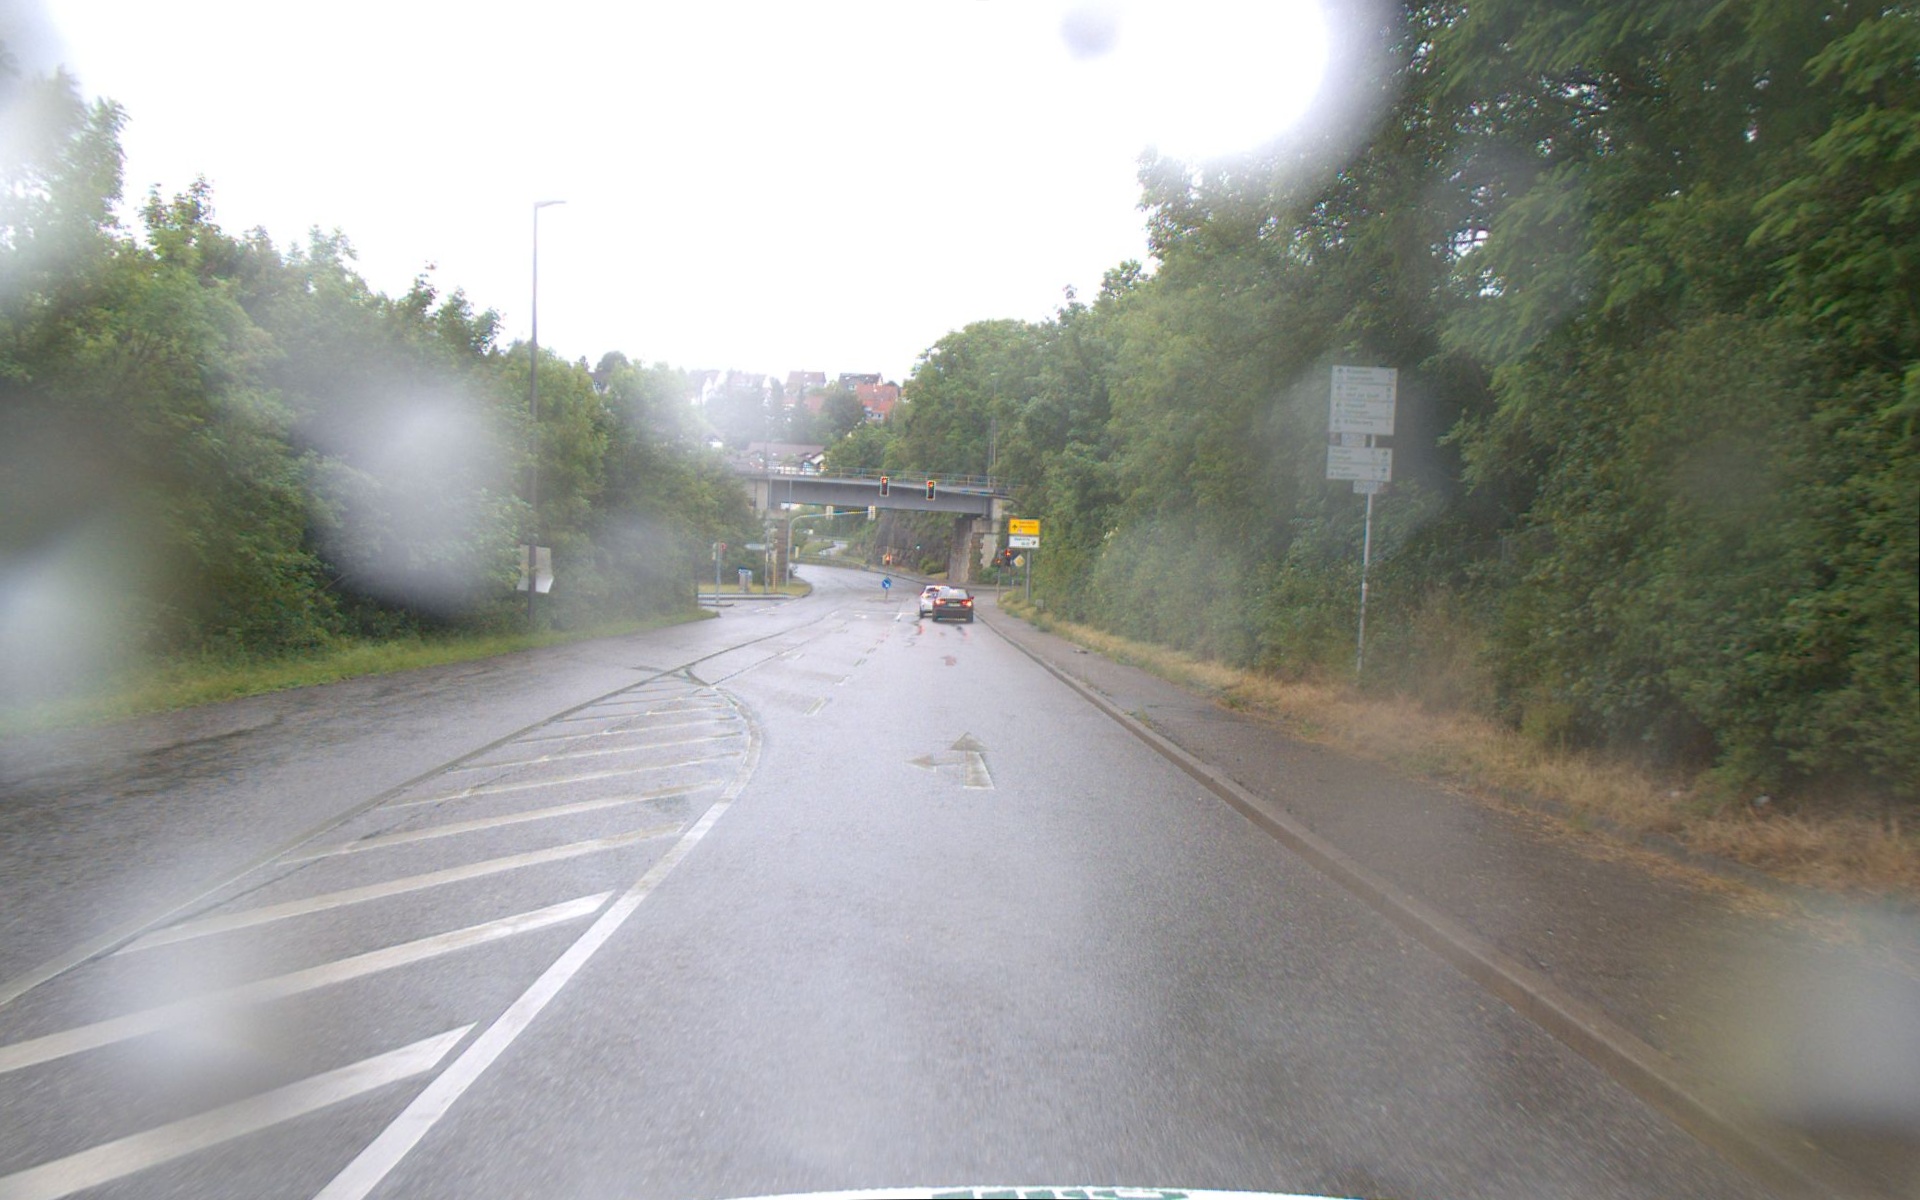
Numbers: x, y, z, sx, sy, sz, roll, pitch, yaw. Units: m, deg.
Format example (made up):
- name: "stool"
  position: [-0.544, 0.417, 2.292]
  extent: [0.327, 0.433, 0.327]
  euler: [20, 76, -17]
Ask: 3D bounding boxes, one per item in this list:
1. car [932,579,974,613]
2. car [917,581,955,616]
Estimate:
- name: "car"
  position: [-0.293, -0.160, 71.600]
  extent: [1.732, 1.404, 4.000]
  euler: [1, 0, 0]
- name: "car"
  position: [-1.121, -0.095, 78.353]
  extent: [1.732, 1.590, 4.000]
  euler: [1, 0, 0]
